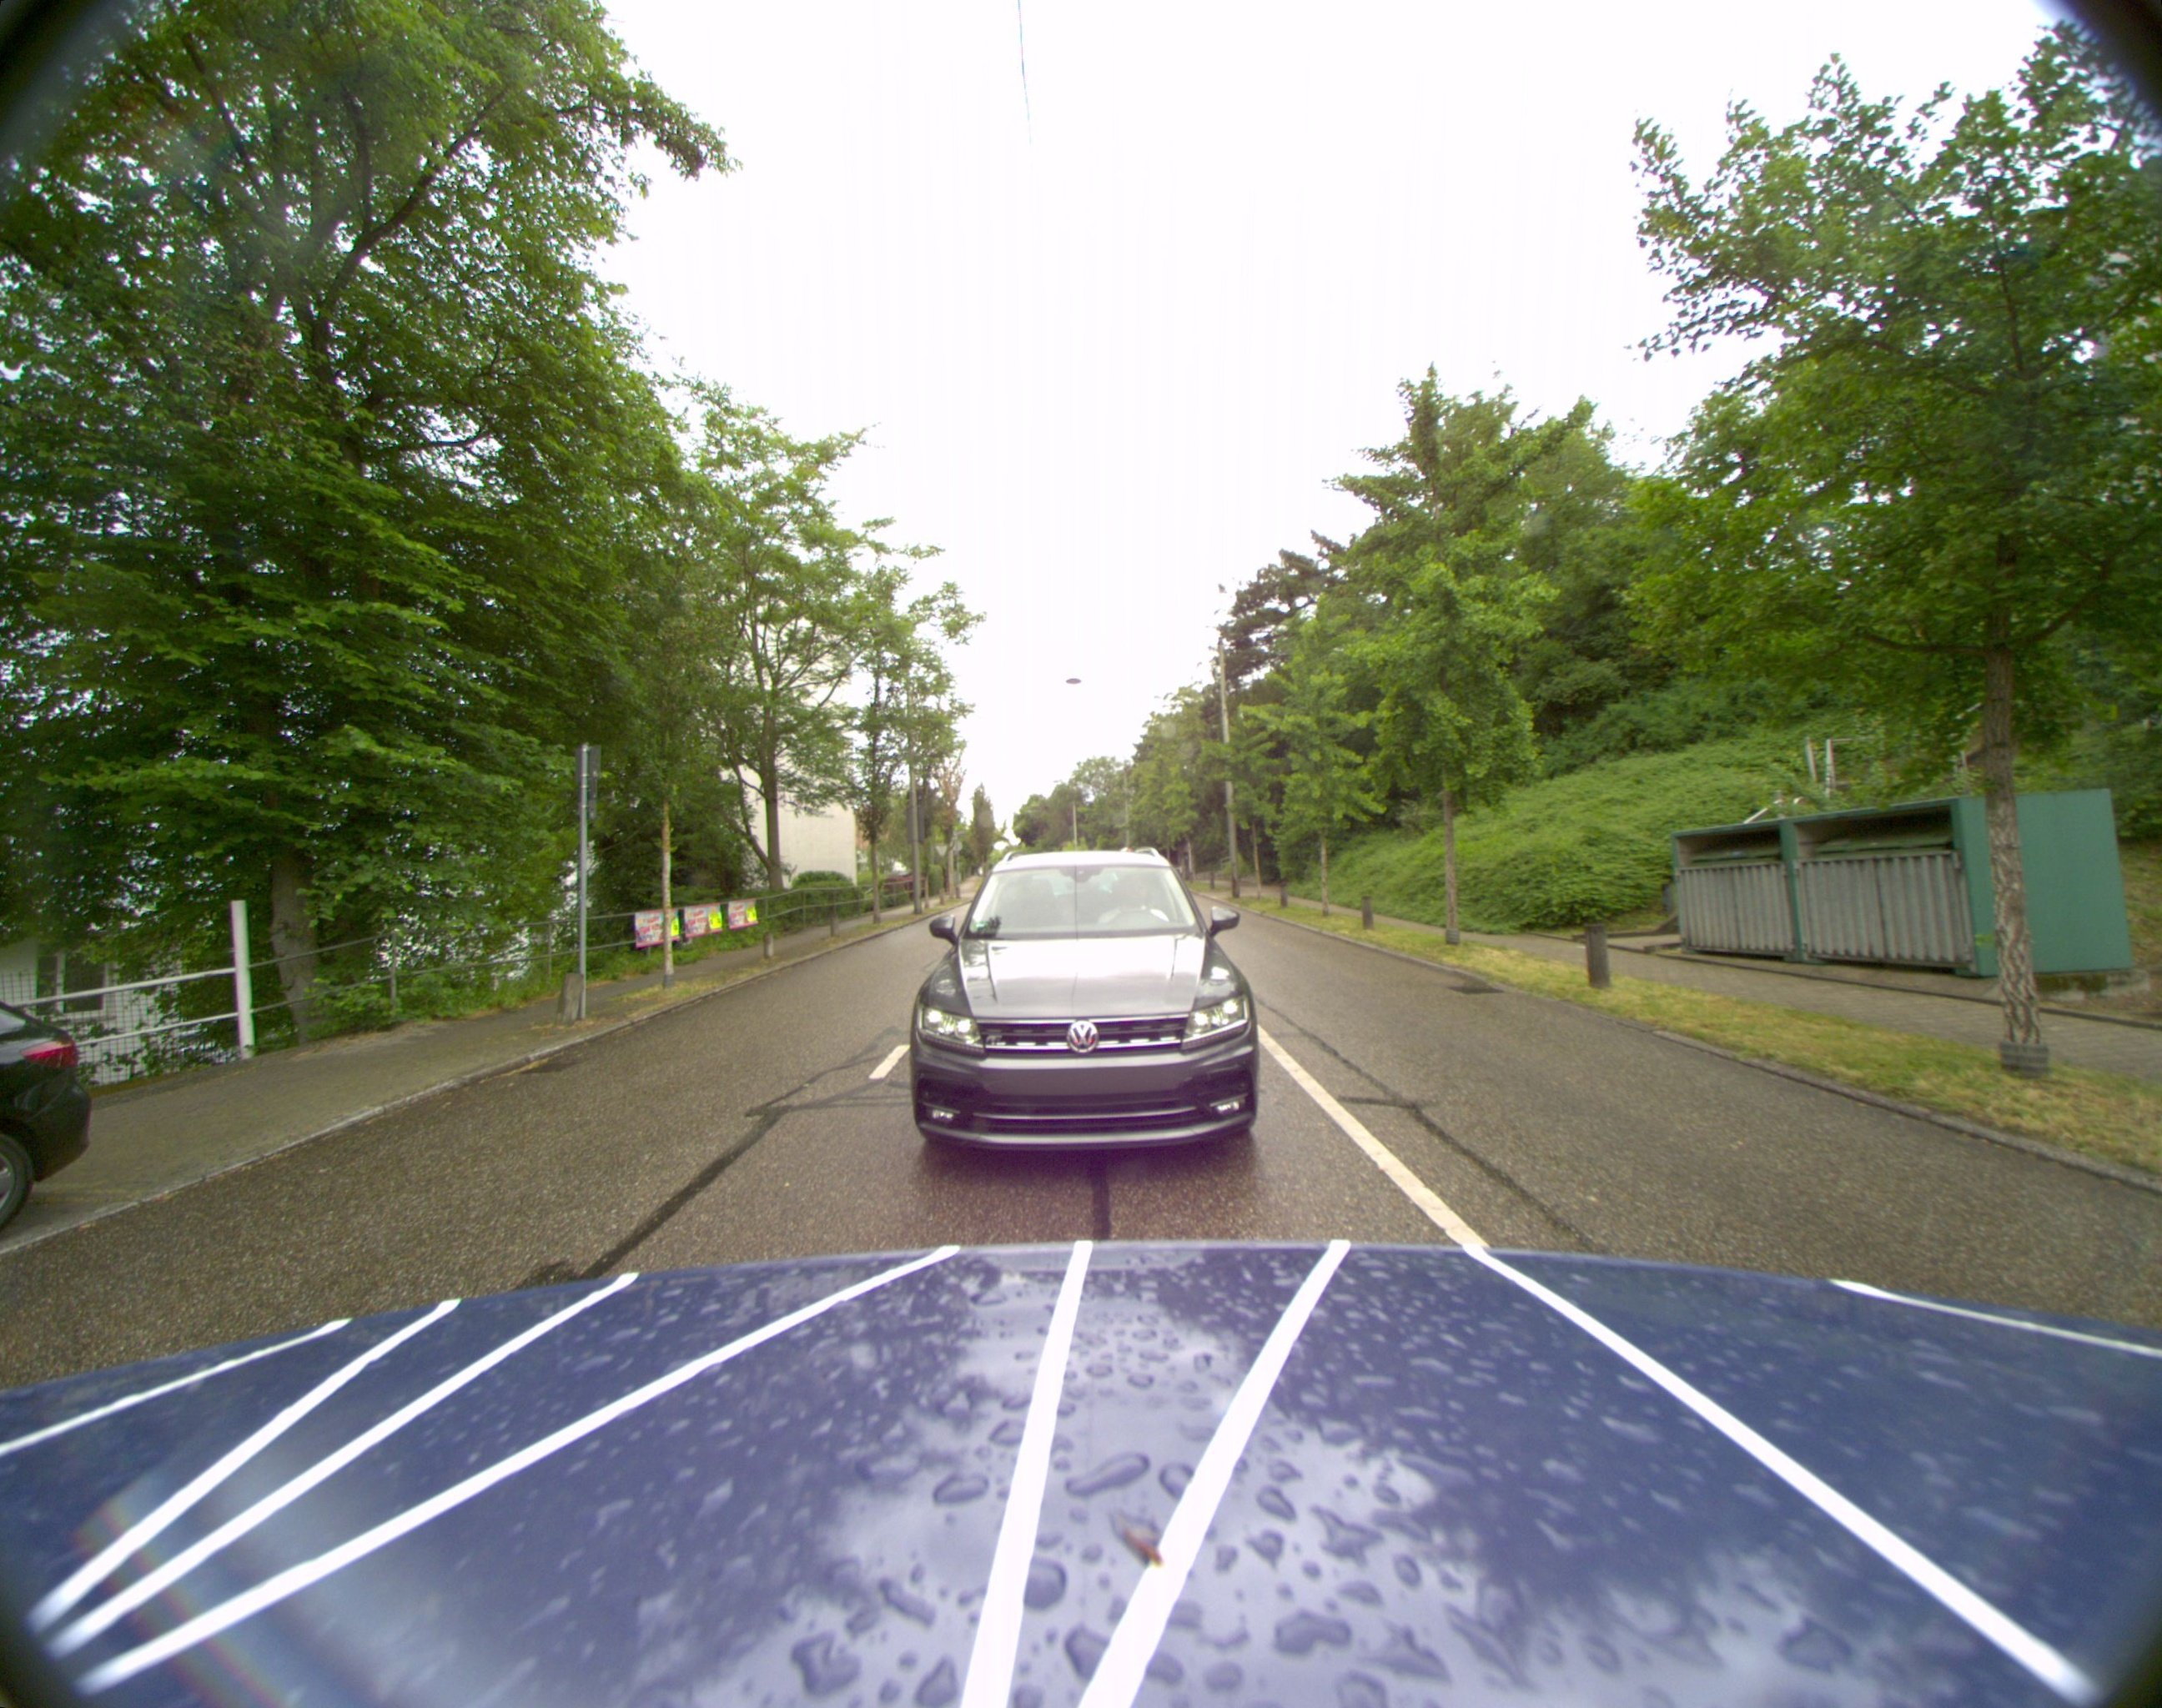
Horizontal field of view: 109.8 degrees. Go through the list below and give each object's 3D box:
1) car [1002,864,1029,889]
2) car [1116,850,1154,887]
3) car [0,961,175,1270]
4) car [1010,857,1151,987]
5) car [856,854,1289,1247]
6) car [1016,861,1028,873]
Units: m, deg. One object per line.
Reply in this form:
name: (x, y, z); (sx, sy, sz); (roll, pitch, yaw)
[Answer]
car: (-4.872, 1.666, 56.945); (1.892, 1.710, 4.235); (-1, 1, -5)
car: (2.787, 0.709, 39.949); (1.751, 1.817, 4.458); (-1, 1, 1)
car: (-6.332, 1.371, 2.238); (1.999, 1.426, 4.442); (-2, 0, -1)
car: (0.022, 0.929, 12.455); (1.834, 1.608, 4.350); (-3, 1, 1)
car: (-0.005, 0.872, 5.498); (1.834, 1.608, 4.292); (-3, 1, 1)
car: (-10.792, 2.379, 138.928); (1.835, 2.003, 4.055); (-3, 1, -7)
